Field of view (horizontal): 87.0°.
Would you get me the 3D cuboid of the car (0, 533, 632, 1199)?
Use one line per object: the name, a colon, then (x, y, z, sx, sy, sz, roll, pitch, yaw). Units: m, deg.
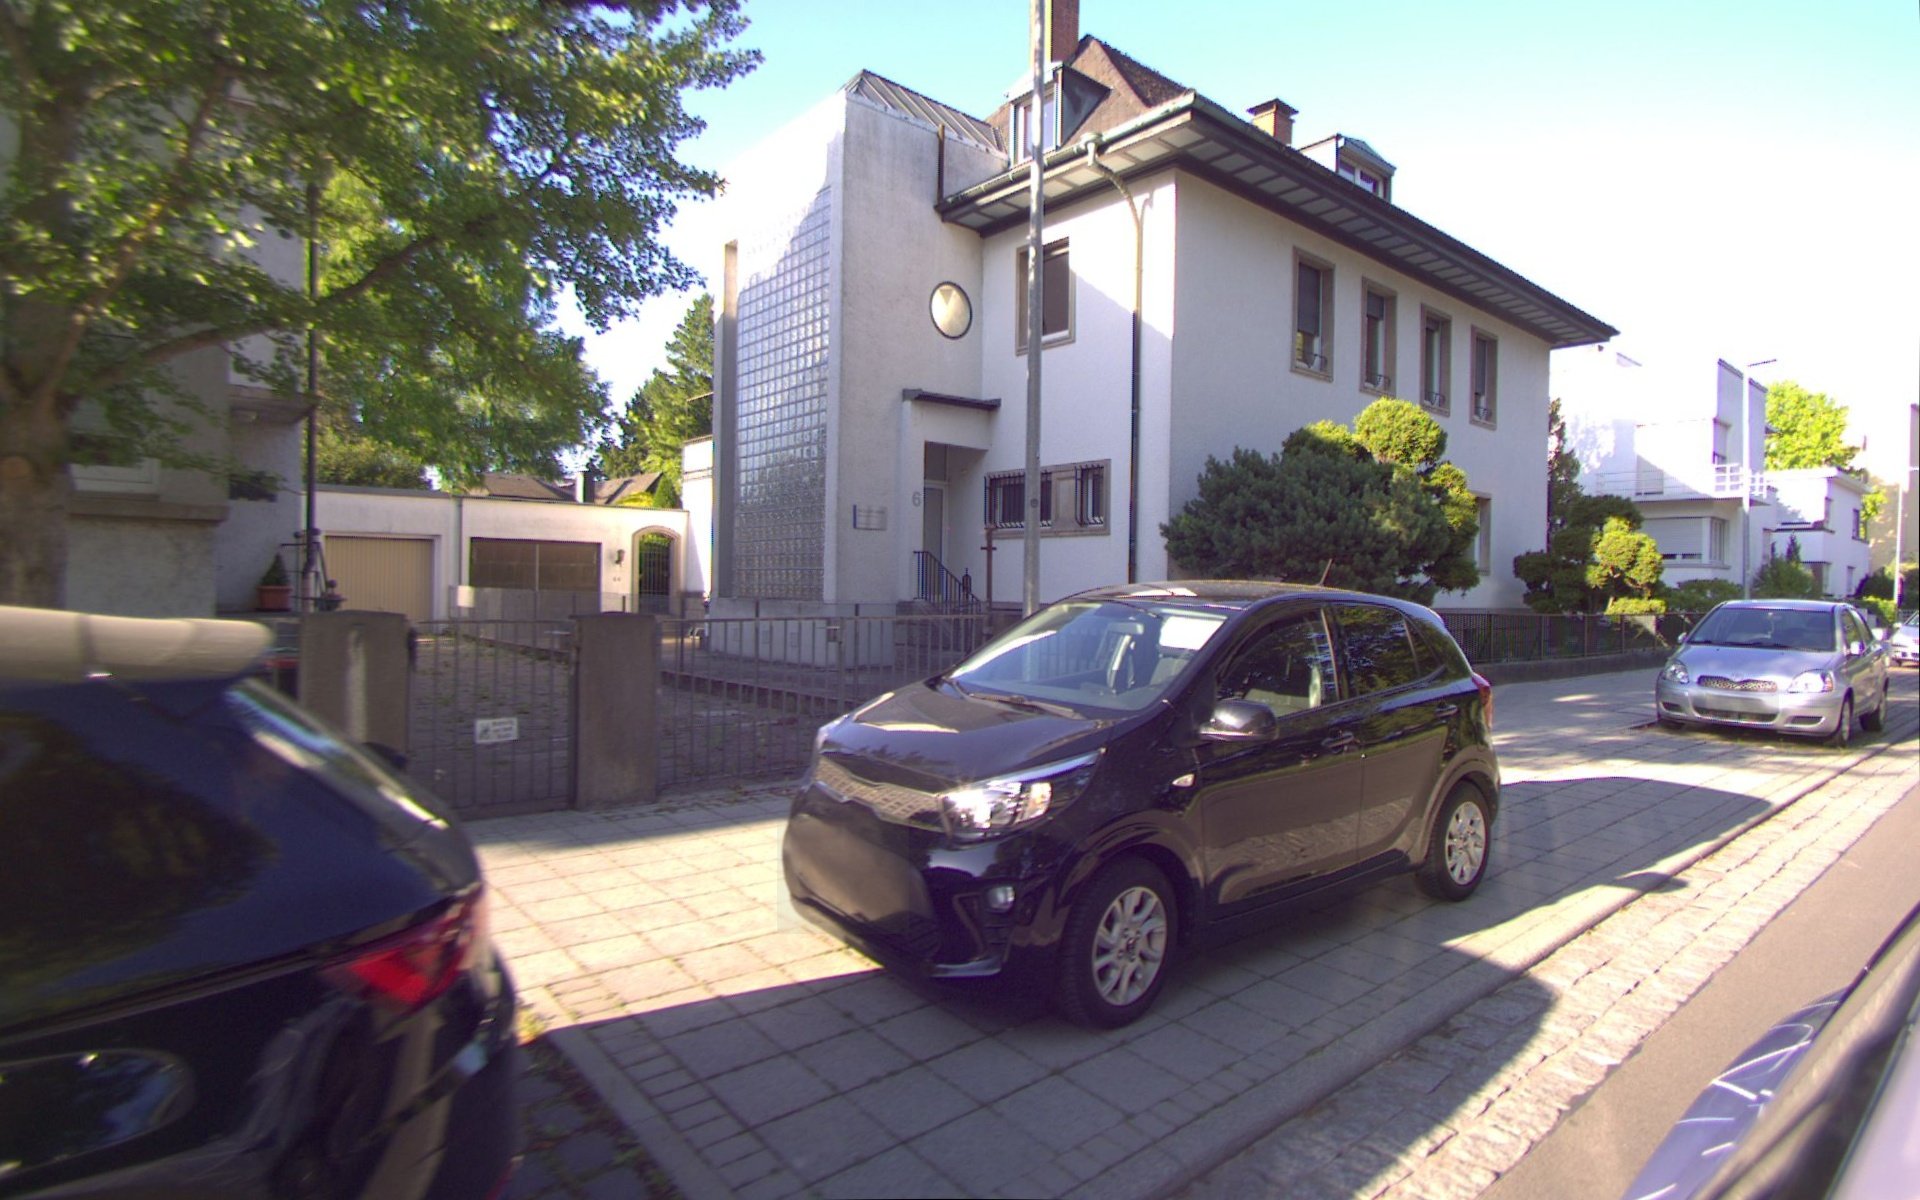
car: (-2.653, 0.634, 0.948, 4.125, 1.466, 1.740, -1, 3, -42)

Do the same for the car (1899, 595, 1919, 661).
car: (24.103, 0.701, 24.163, 3.849, 1.492, 1.750, 0, 3, -37)

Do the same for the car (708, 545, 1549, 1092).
car: (0.928, 0.559, 4.552, 3.647, 1.512, 1.663, 0, 2, -37)

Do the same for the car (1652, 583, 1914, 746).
car: (9.449, 0.625, 11.542, 3.568, 1.523, 1.631, 1, 2, -40)
